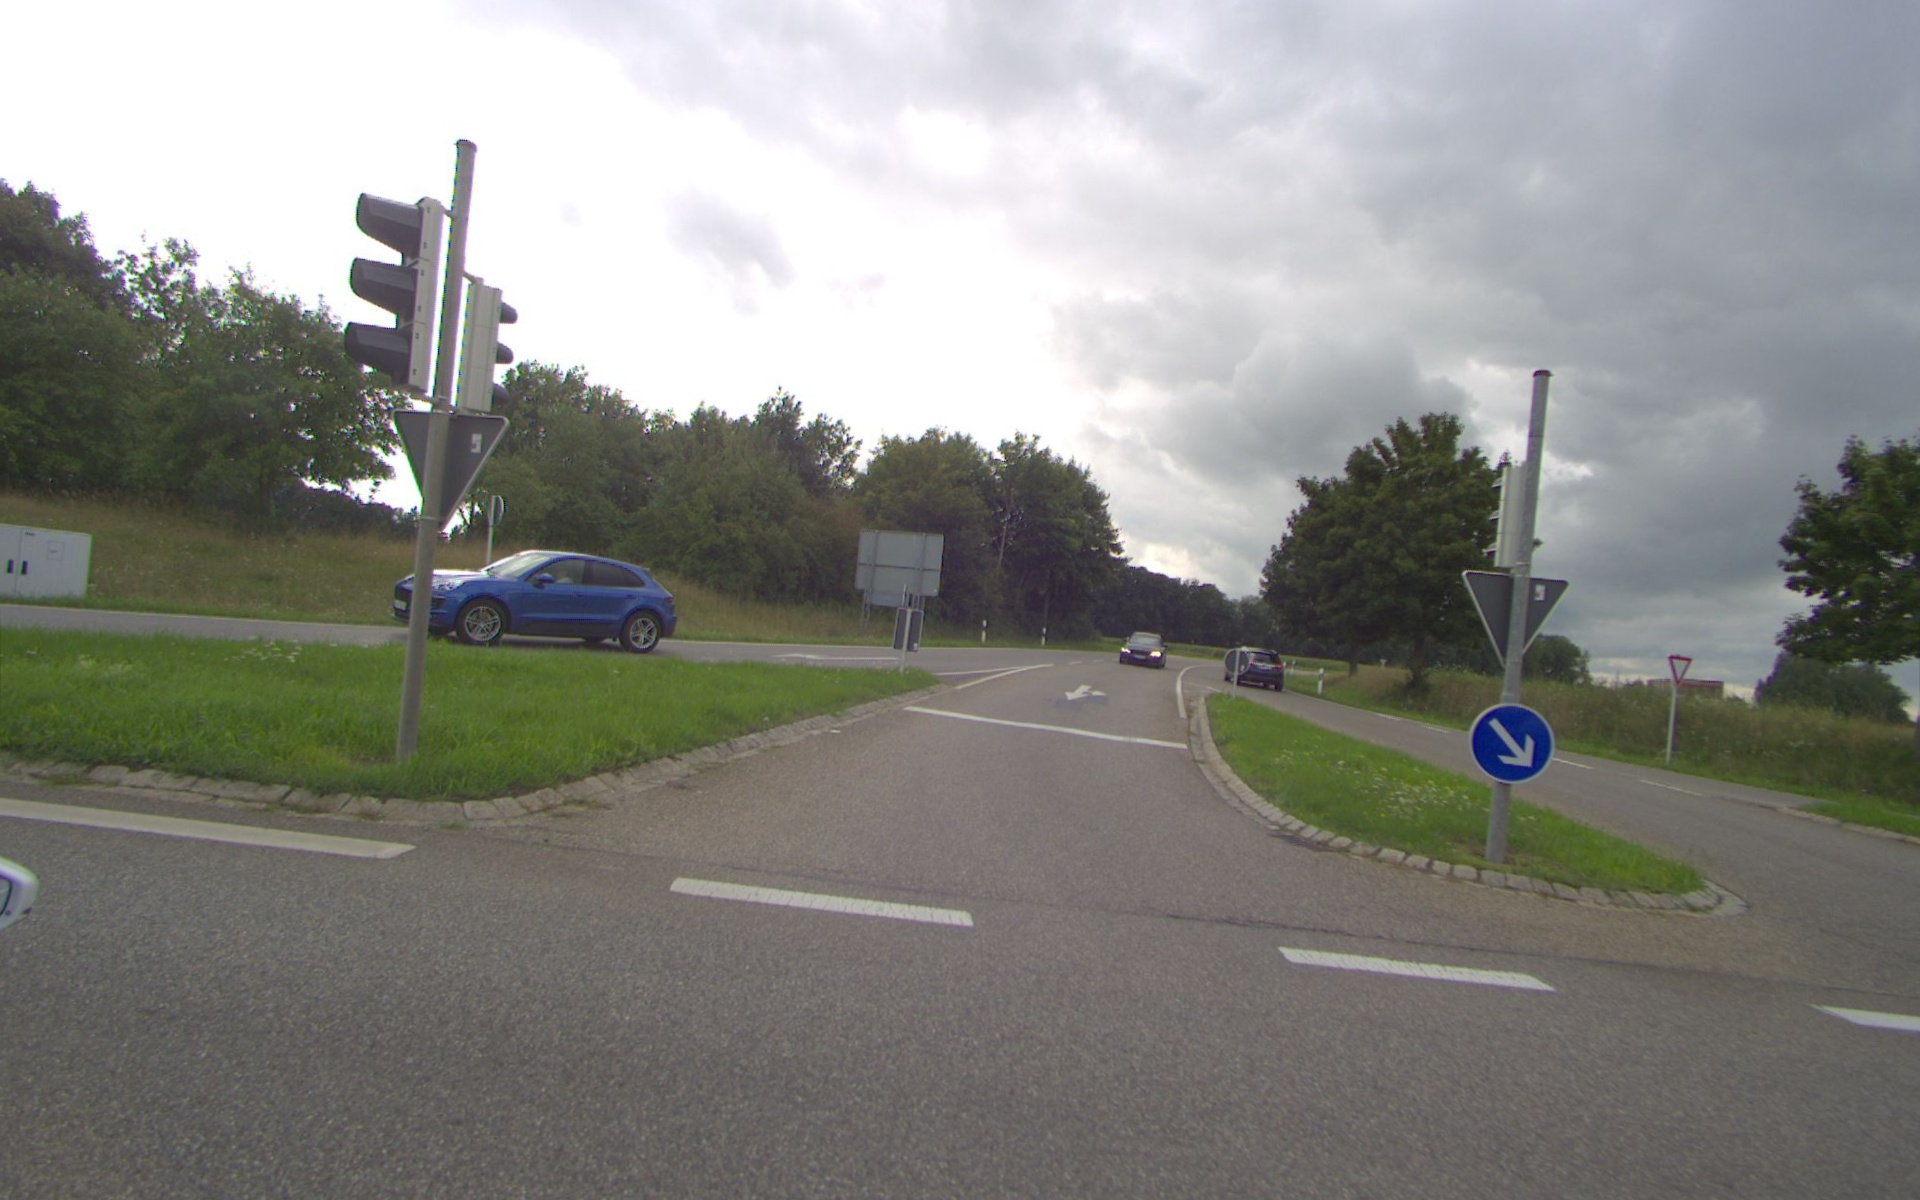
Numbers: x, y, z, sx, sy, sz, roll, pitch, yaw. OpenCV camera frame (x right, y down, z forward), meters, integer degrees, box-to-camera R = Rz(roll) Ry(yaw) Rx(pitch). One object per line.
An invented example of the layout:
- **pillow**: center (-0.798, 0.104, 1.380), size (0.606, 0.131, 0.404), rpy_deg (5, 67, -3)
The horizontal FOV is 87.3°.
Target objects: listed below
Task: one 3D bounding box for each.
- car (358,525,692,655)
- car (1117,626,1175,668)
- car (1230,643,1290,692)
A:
- **car**: center (-7.212, -0.095, 17.102), size (1.972, 1.589, 4.735), rpy_deg (7, -1, 41)
- **car**: center (8.367, 2.105, 44.936), size (1.962, 1.521, 4.670), rpy_deg (7, -1, 16)
- **car**: center (11.530, 2.564, 38.893), size (1.779, 1.469, 4.273), rpy_deg (7, 1, 12)
